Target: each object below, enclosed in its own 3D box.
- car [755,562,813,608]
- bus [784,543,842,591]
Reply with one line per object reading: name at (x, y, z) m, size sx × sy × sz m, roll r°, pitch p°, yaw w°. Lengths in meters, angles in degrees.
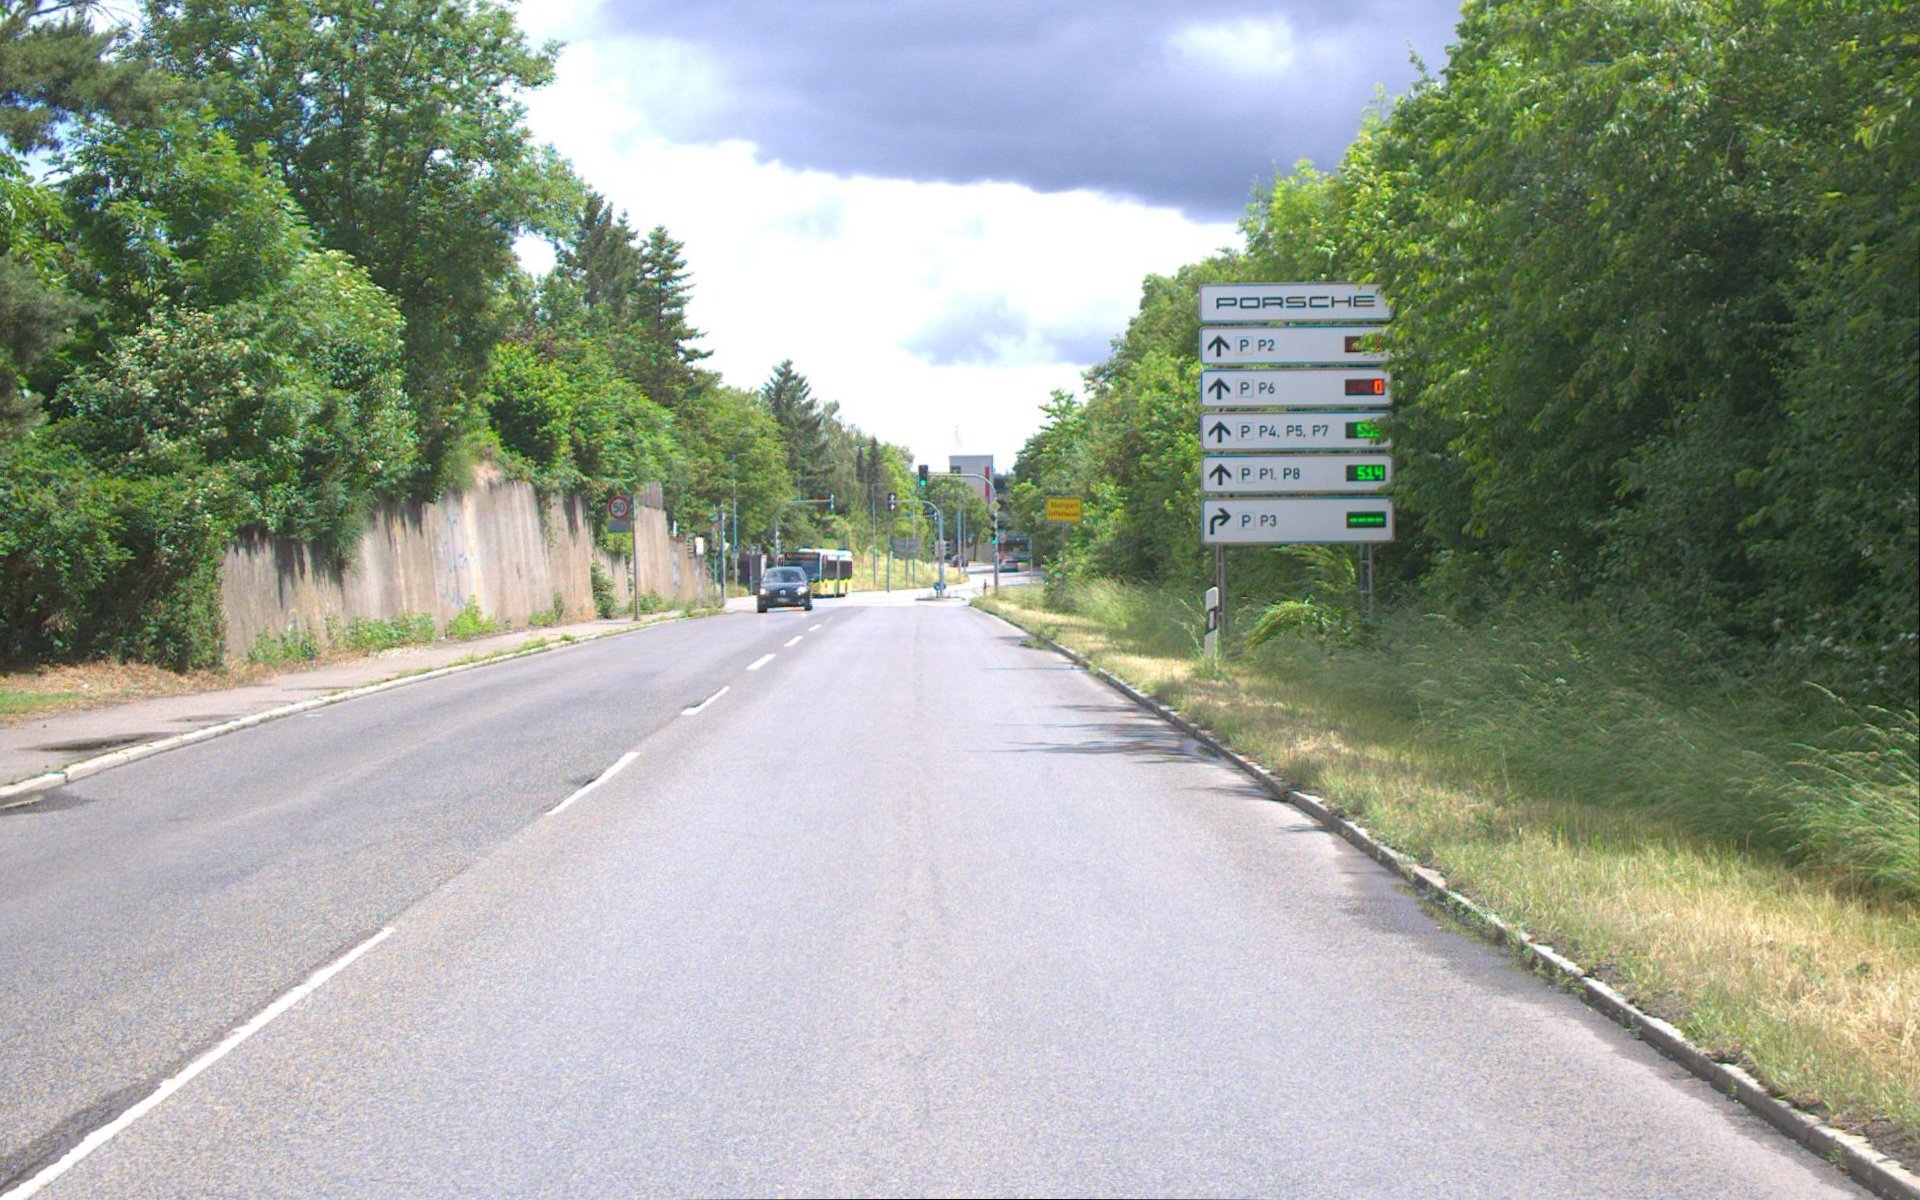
car at (-5.795, -0.503, 113.517) m, size 1.751 × 1.459 × 4.000 m, roll -1°, pitch 1°, yaw -1°
bus at (-9.226, -2.109, 216.661) m, size 2.895 × 2.889 × 7.667 m, roll 1°, pitch 1°, yaw 3°
